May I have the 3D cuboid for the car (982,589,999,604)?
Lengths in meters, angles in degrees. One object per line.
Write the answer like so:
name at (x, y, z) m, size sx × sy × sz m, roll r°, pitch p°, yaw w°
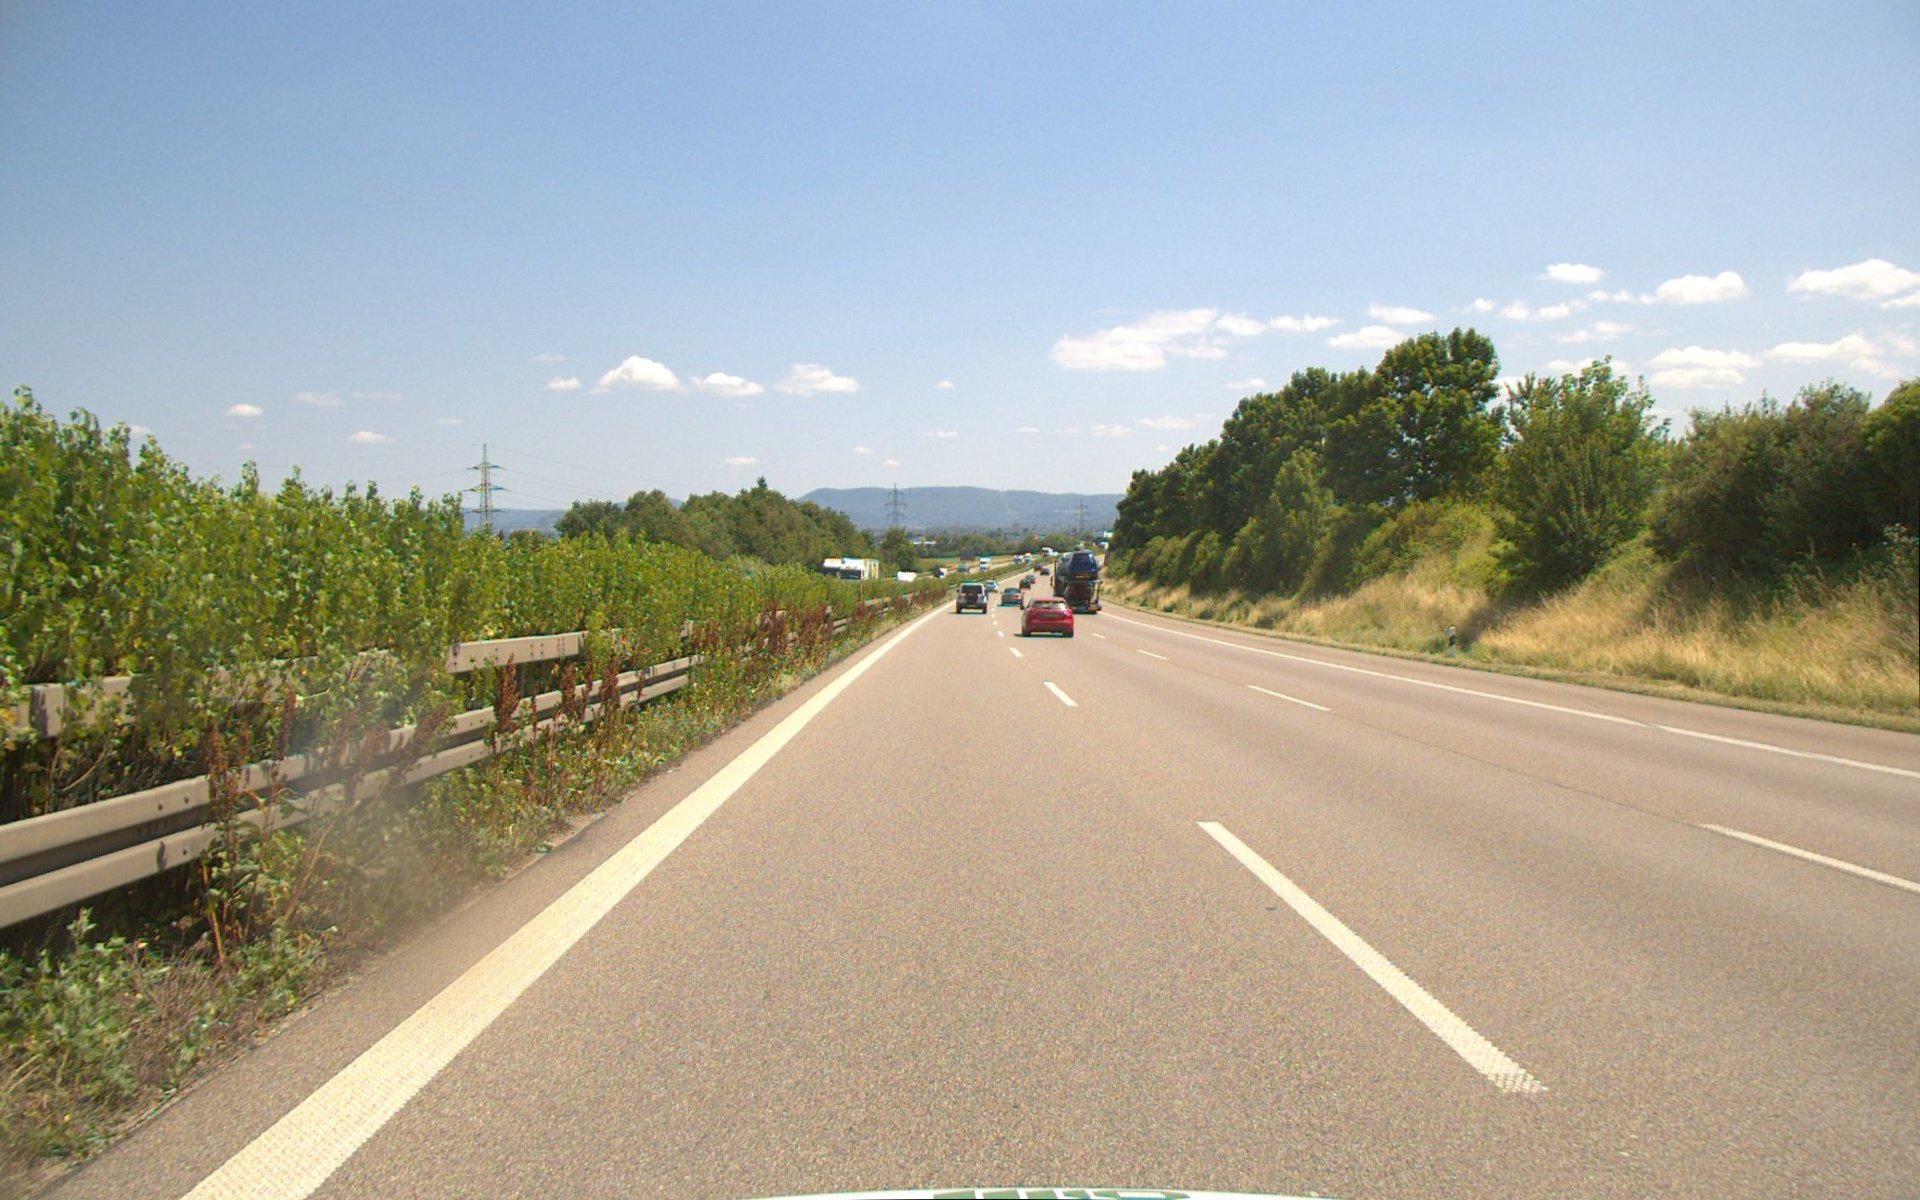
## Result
car at (2.858, -0.347, 155.643) m, size 1.425 × 1.289 × 3.339 m, roll 1°, pitch 1°, yaw 4°

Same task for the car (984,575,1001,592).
car at (3.970, -2.005, 202.434) m, size 1.662 × 2.048 × 3.825 m, roll 1°, pitch 1°, yaw 6°

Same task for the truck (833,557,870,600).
truck at (-10.901, -2.212, 166.875) m, size 3.110 × 4.180 × 5.228 m, roll 1°, pitch 1°, yaw 2°

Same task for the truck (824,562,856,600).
truck at (-13.535, -2.171, 187.107) m, size 2.948 × 4.180 × 5.624 m, roll 1°, pitch 1°, yaw 2°

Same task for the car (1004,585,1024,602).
car at (4.236, -0.509, 130.933) m, size 1.423 × 1.289 × 3.538 m, roll 1°, pitch 1°, yaw -1°

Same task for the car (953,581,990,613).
car at (0.686, -0.226, 103.545) m, size 2.042 × 1.861 × 4.752 m, roll 1°, pitch 1°, yaw -2°

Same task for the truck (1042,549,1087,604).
truck at (7.651, -1.738, 121.595) m, size 2.698 × 3.919 × 6.643 m, roll 1°, pitch 1°, yaw -1°

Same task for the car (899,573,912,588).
car at (-7.473, -2.699, 227.314) m, size 1.757 × 2.048 × 4.000 m, roll 1°, pitch 1°, yaw -1°

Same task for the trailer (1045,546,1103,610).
trailer at (7.717, -1.587, 113.953) m, size 2.797 × 4.063 × 15.396 m, roll 1°, pitch 1°, yaw 0°

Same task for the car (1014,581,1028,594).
car at (8.437, -1.764, 228.905) m, size 1.601 × 1.734 × 3.404 m, roll 1°, pitch 1°, yaw 6°

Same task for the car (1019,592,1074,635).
car at (3.113, 0.464, 60.338) m, size 1.652 × 1.403 × 3.947 m, roll 1°, pitch 1°, yaw -2°
